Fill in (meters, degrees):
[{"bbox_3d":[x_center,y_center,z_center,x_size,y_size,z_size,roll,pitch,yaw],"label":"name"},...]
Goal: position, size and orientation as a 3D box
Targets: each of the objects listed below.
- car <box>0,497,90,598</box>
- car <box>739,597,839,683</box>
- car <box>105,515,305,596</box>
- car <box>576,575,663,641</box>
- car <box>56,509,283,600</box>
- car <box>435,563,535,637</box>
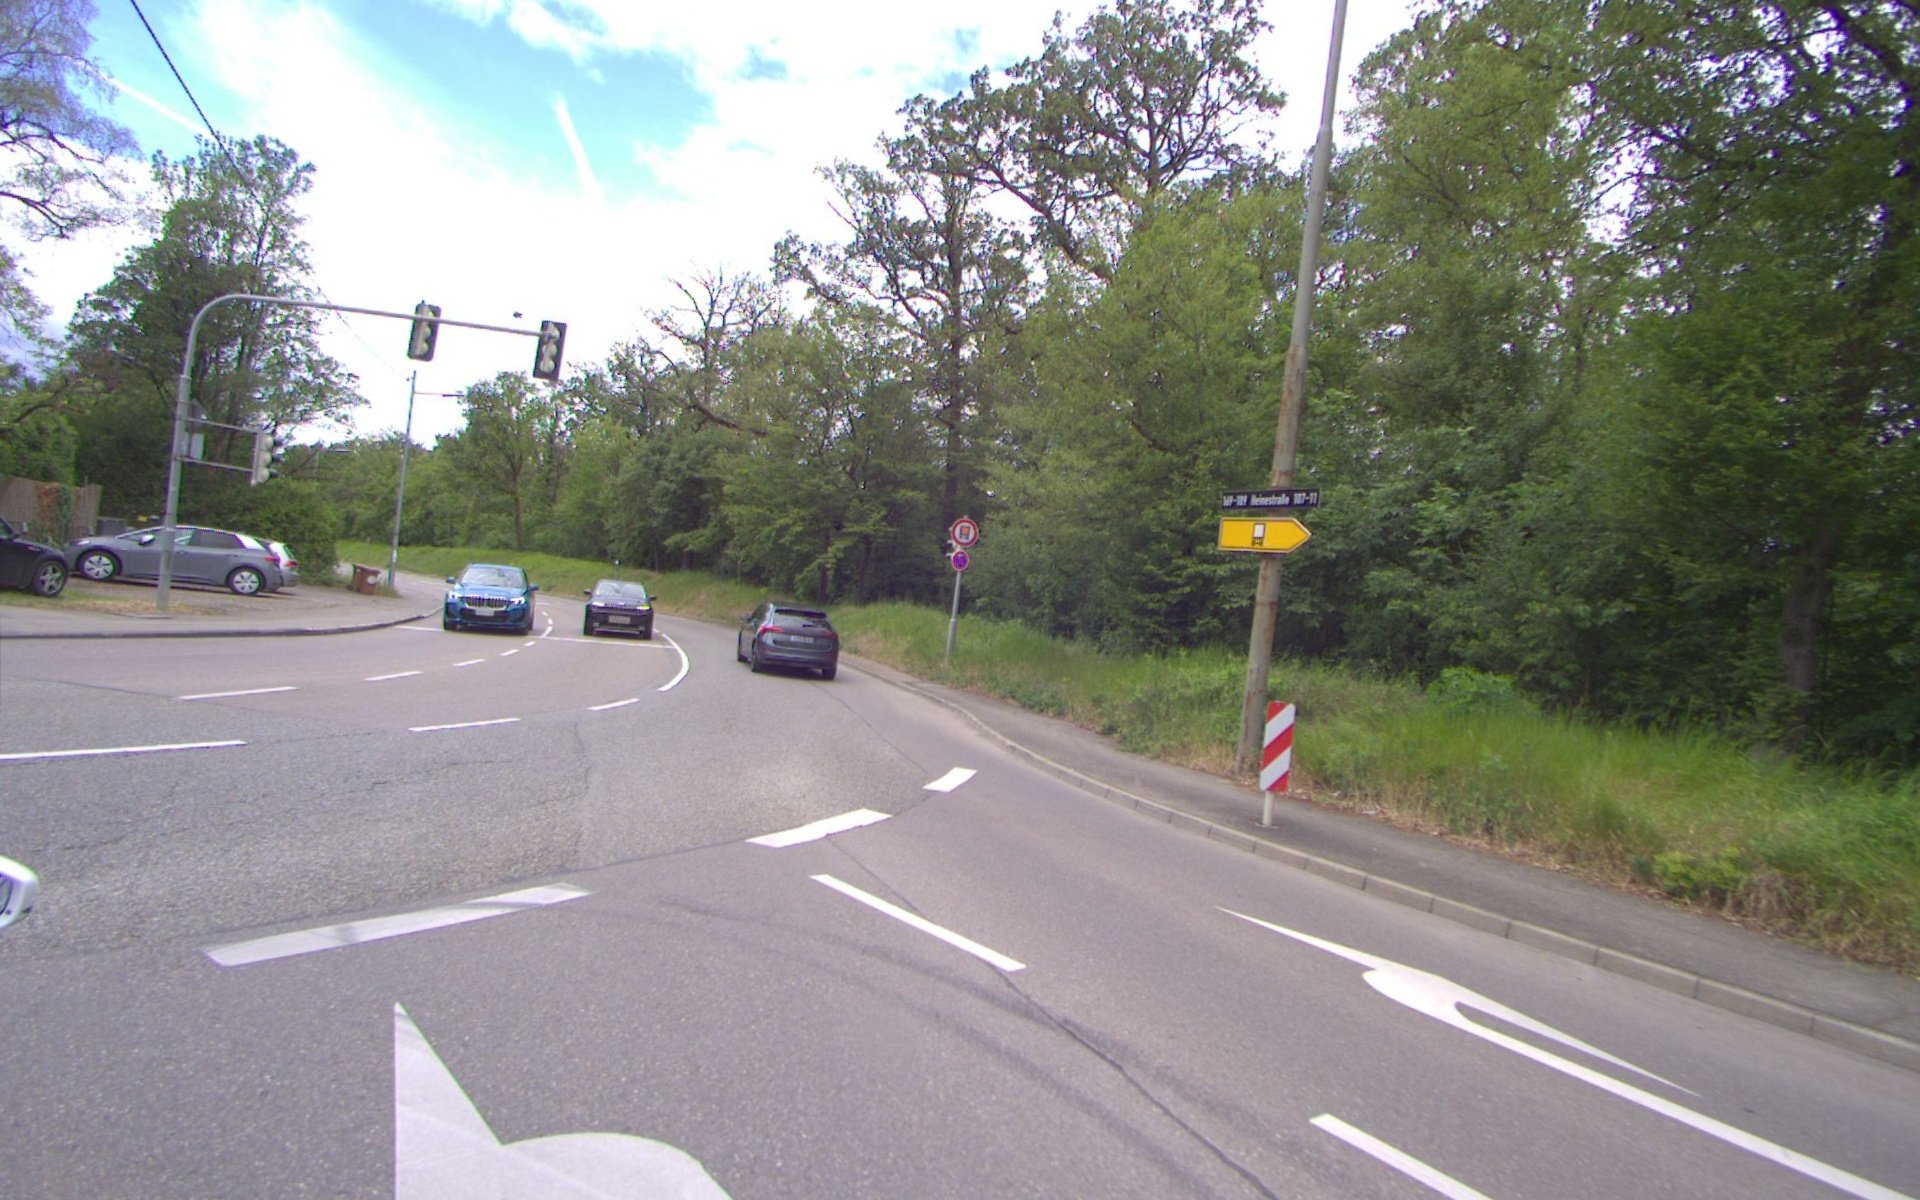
[{"bbox_3d":[-15.275,-0.929,14.870,1.672,1.465,3.544,8,-2,-2],"label":"car"},{"bbox_3d":[-3.714,0.781,21.617,1.769,1.468,3.992,7,-1,-11],"label":"car"},{"bbox_3d":[-20.153,-1.173,27.013,4.066,1.572,1.835,8,0,-38],"label":"car"},{"bbox_3d":[-9.560,0.181,28.052,1.798,1.526,3.976,5,0,-25],"label":"car"},{"bbox_3d":[-18.946,-1.078,24.319,4.066,1.572,1.835,8,0,-38],"label":"car"},{"bbox_3d":[-11.584,-0.042,24.745,1.837,1.526,3.980,5,0,-21],"label":"car"}]
